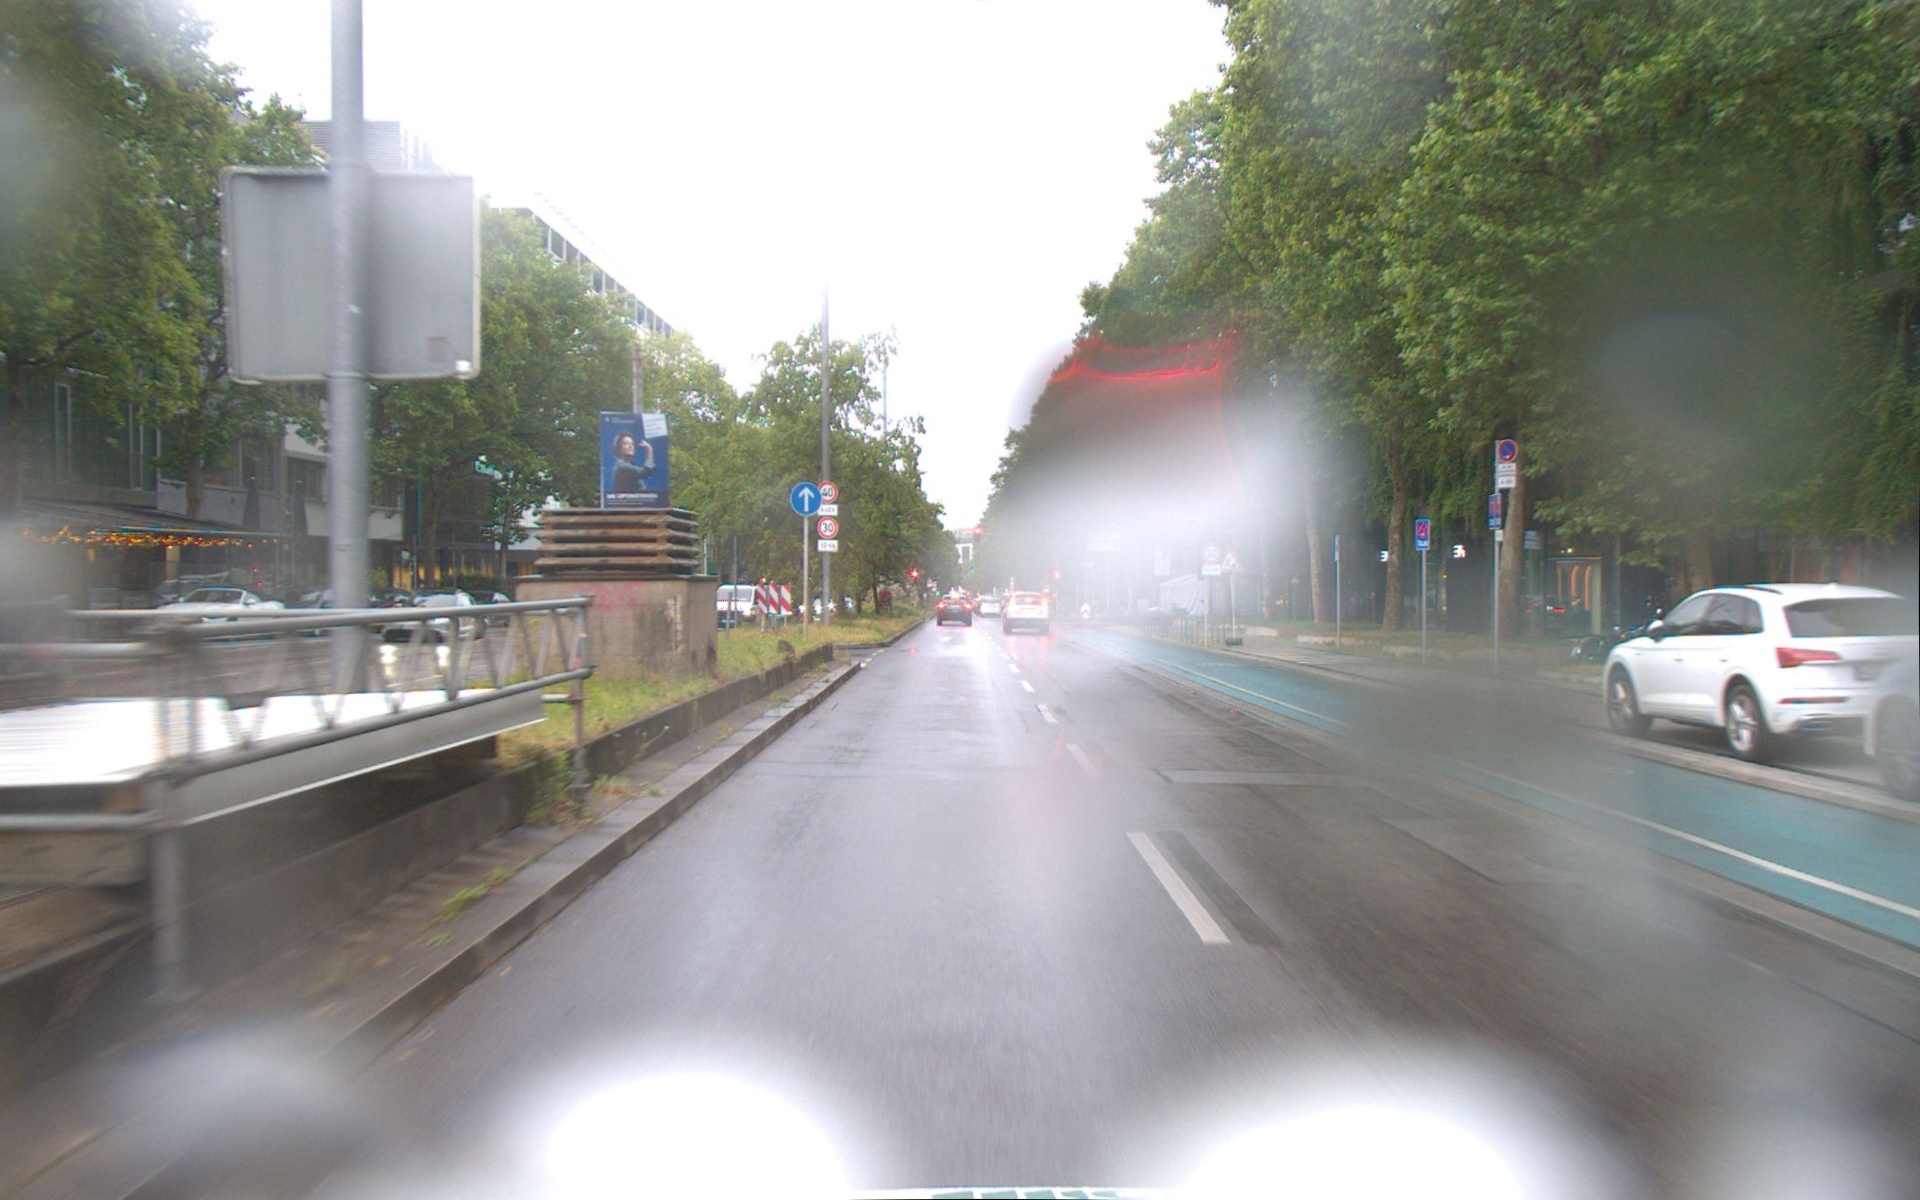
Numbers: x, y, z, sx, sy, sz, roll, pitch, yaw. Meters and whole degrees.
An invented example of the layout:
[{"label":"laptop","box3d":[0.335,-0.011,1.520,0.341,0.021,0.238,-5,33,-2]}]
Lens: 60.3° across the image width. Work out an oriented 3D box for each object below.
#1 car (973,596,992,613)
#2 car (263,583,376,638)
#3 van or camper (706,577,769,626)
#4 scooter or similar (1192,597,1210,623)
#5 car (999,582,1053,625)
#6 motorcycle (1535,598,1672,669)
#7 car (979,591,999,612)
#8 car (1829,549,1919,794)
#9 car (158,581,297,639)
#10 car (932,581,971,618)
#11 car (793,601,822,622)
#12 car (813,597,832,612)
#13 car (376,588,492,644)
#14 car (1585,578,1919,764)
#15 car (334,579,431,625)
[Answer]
[{"label":"car","box3d":[1.955,0.385,147.026,1.587,1.398,4.000,0,0,0]},{"label":"car","box3d":[-18.791,0.273,48.716,1.799,1.534,4.000,1,1,-1]},{"label":"van or camper","box3d":[-9.292,0.038,69.310,1.953,1.947,5.251,1,1,-1]},{"label":"scooter or similar","box3d":[11.543,0.486,79.257,0.374,1.249,1.075,1,0,35]},{"label":"car","box3d":[2.688,0.121,68.416,1.953,1.684,4.888,1,1,-1]},{"label":"motorcycle","box3d":[12.727,0.657,32.776,2.261,1.292,1.052,2,0,-2]},{"label":"car","box3d":[2.350,0.146,135.528,1.587,1.695,4.000,0,0,0]},{"label":"car","box3d":[8.177,0.545,11.393,1.805,1.870,5.095,-1,1,2]},{"label":"car","box3d":[-19.051,0.225,43.234,1.527,1.377,4.682,2,1,0]},{"label":"car","box3d":[-0.432,-0.054,86.124,1.953,1.865,4.000,1,1,-1]},{"label":"car","box3d":[-11.134,0.813,121.049,1.806,1.454,3.642,1,0,-1]},{"label":"car","box3d":[-13.717,0.418,164.877,1.581,1.418,4.184,1,1,-1]},{"label":"car","box3d":[-14.724,0.409,46.581,1.927,1.434,4.954,1,1,-3]},{"label":"car","box3d":[8.381,0.614,17.266,1.806,1.661,4.785,1,1,-1]},{"label":"car","box3d":[-18.985,0.043,54.552,1.658,1.434,4.456,1,1,-1]}]
